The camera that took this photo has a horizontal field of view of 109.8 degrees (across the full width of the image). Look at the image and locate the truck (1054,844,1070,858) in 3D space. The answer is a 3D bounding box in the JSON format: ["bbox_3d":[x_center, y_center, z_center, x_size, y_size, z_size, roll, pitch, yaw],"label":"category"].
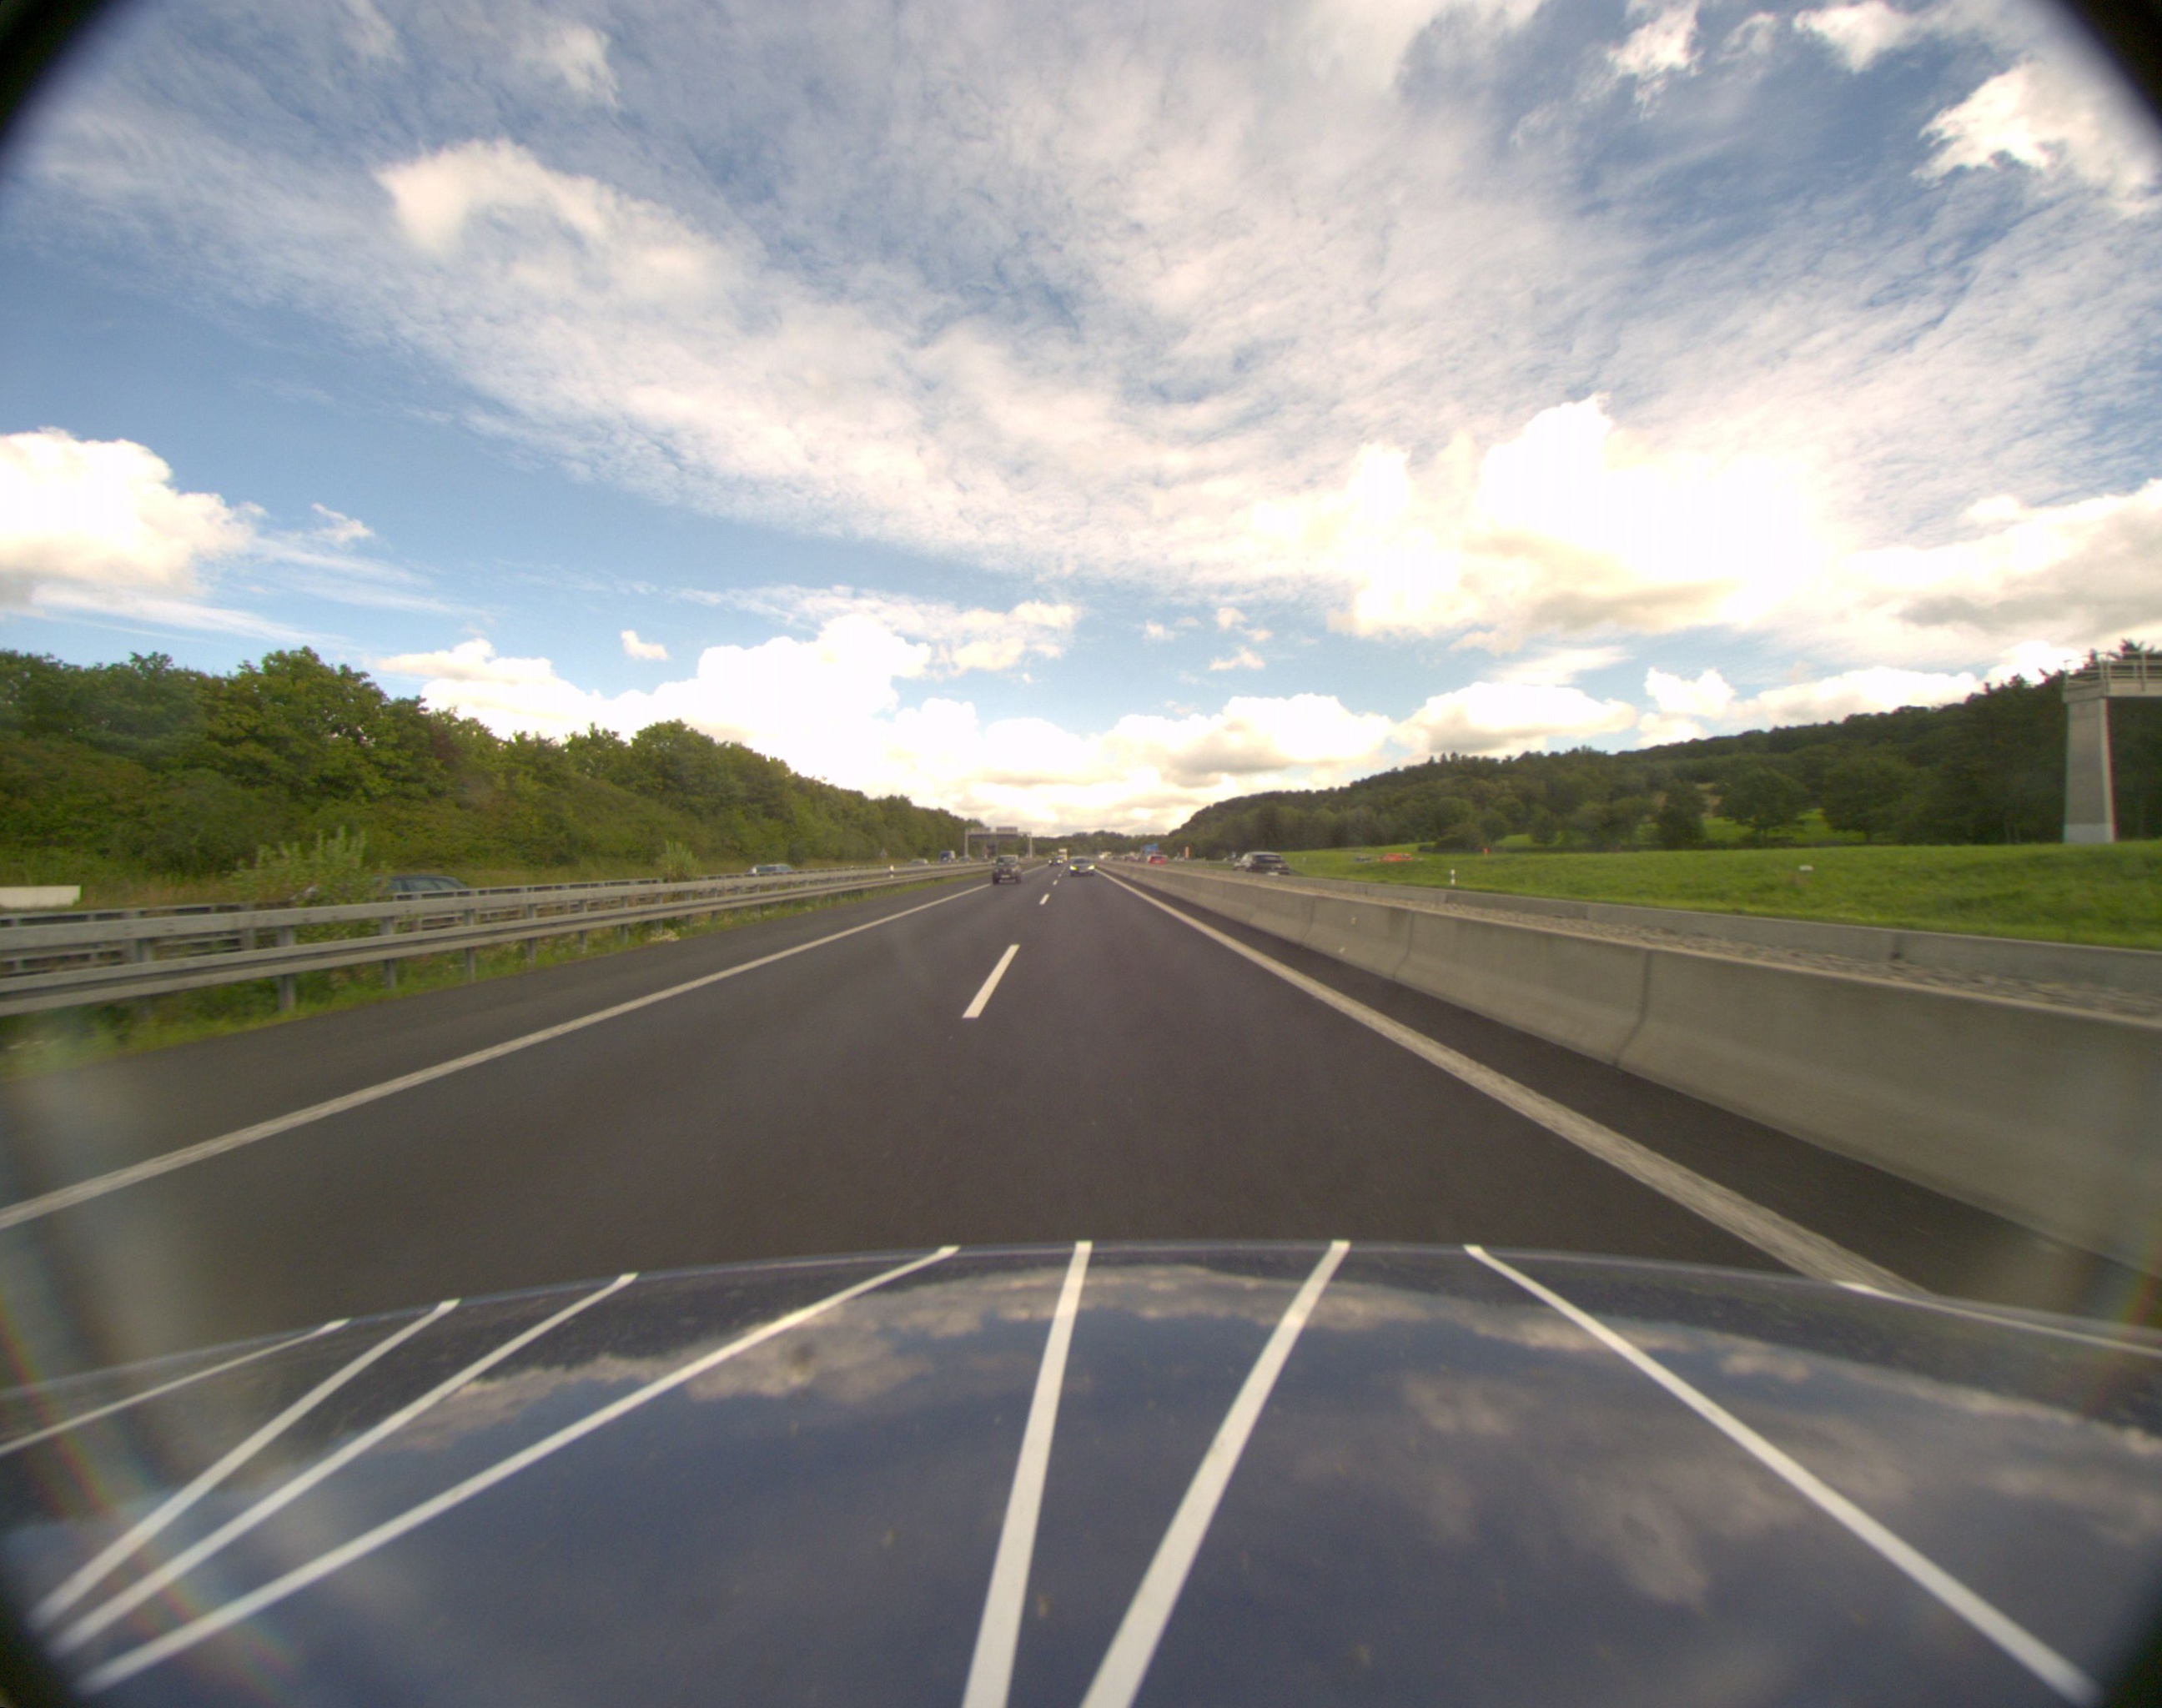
[{"bbox_3d":[-6.020,-0.952,247.477,4.948,4.306,14.627,0,1,0],"label":"truck"}]

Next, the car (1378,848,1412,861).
[{"bbox_3d":[37.827,0.034,91.660,1.778,1.539,4.887,0,1,-6],"label":"car"}]

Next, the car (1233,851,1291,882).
[{"bbox_3d":[8.973,0.586,38.051,1.792,1.390,4.622,0,1,-1],"label":"car"}]

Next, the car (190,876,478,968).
[{"bbox_3d":[-14.994,1.270,15.649,1.999,1.476,3.999,-1,1,-1],"label":"car"}]

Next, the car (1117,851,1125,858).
[{"bbox_3d":[9.112,0.128,174.214,1.646,1.390,3.741,0,1,-1],"label":"car"}]

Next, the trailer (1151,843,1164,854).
[{"bbox_3d":[26.304,-1.997,262.085,1.999,3.715,13.238,0,1,-4],"label":"trailer"}]

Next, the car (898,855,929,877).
[{"bbox_3d":[-15.819,1.107,71.918,1.999,2.002,3.999,0,1,0],"label":"car"}]

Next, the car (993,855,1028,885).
[{"bbox_3d":[-4.343,0.935,47.027,1.670,1.722,4.207,-1,1,1],"label":"car"}]

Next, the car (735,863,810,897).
[{"bbox_3d":[-15.090,1.224,37.477,1.999,1.476,4.309,-1,1,-1],"label":"car"}]

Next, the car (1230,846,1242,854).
[{"bbox_3d":[38.225,-1.039,187.718,1.999,2.002,3.998,0,1,-4],"label":"car"}]

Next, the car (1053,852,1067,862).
[{"bbox_3d":[-3.516,0.418,127.096,1.998,1.591,4.000,0,1,2],"label":"car"}]

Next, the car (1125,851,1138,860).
[{"bbox_3d":[8.149,0.271,122.818,1.792,1.390,4.724,0,1,-1],"label":"car"}]

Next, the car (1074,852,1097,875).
[{"bbox_3d":[0.356,0.700,59.805,1.724,1.722,3.938,-1,1,1],"label":"car"}]

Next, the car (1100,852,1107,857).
[{"bbox_3d":[7.328,0.084,250.814,1.999,1.523,5.746,0,1,-1],"label":"car"}]

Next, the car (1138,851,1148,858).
[{"bbox_3d":[12.546,0.059,153.941,1.732,1.390,4.157,0,1,-1],"label":"car"}]

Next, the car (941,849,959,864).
[{"bbox_3d":[-19.638,0.298,114.159,1.999,2.173,5.127,-1,1,-1],"label":"car"}]

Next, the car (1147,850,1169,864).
[{"bbox_3d":[8.287,0.296,82.122,1.792,1.390,4.798,0,1,-1],"label":"car"}]
